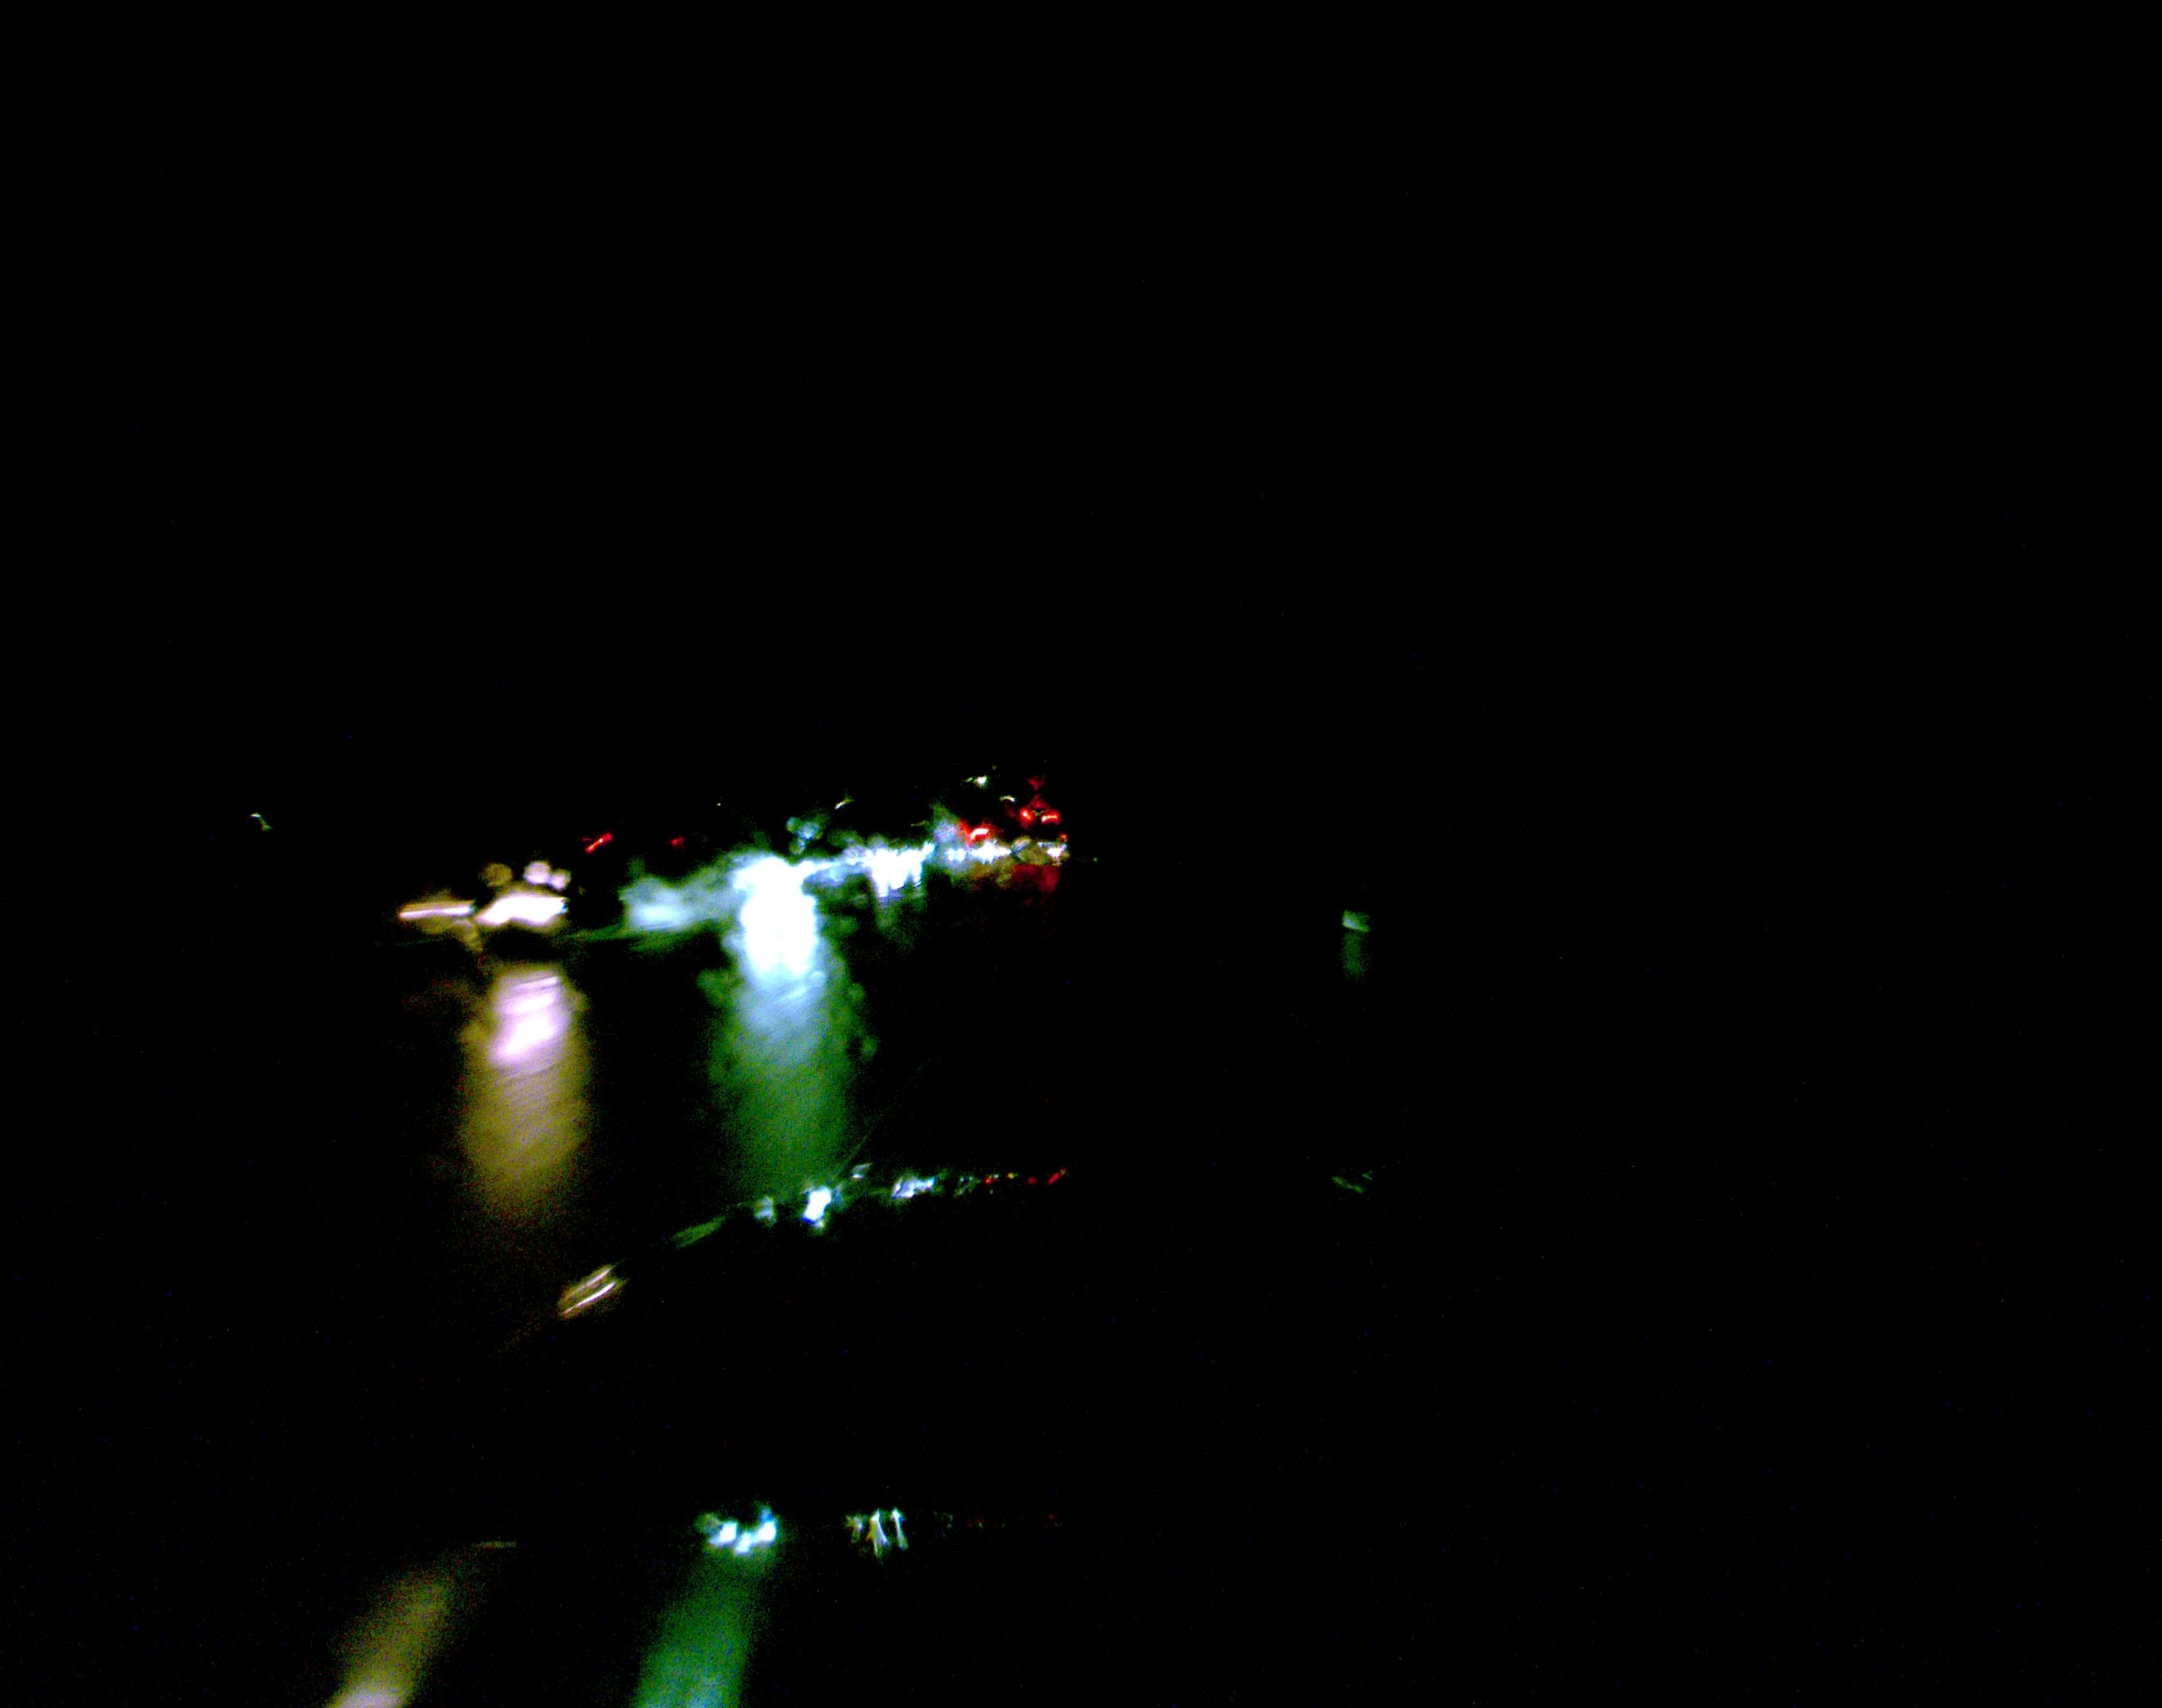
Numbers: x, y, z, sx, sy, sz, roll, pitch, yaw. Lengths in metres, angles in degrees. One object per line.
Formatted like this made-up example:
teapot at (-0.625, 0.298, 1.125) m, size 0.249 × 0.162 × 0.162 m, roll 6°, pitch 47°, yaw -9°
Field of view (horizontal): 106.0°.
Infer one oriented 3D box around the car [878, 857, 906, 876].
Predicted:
car at (-15.175, 0.982, 65.542) m, size 1.831 × 1.442 × 4.478 m, roll 0°, pitch 0°, yaw -8°

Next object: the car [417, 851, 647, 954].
car at (-9.656, 0.764, 14.745) m, size 1.879 × 1.600 × 3.890 m, roll 0°, pitch 0°, yaw -7°

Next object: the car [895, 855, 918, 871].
car at (-17.129, 0.841, 80.179) m, size 1.788 × 1.441 × 3.847 m, roll -4°, pitch 0°, yaw -7°

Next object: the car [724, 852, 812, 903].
car at (-11.502, 0.816, 30.228) m, size 2.198 × 1.745 × 4.509 m, roll 0°, pitch 0°, yaw -10°
